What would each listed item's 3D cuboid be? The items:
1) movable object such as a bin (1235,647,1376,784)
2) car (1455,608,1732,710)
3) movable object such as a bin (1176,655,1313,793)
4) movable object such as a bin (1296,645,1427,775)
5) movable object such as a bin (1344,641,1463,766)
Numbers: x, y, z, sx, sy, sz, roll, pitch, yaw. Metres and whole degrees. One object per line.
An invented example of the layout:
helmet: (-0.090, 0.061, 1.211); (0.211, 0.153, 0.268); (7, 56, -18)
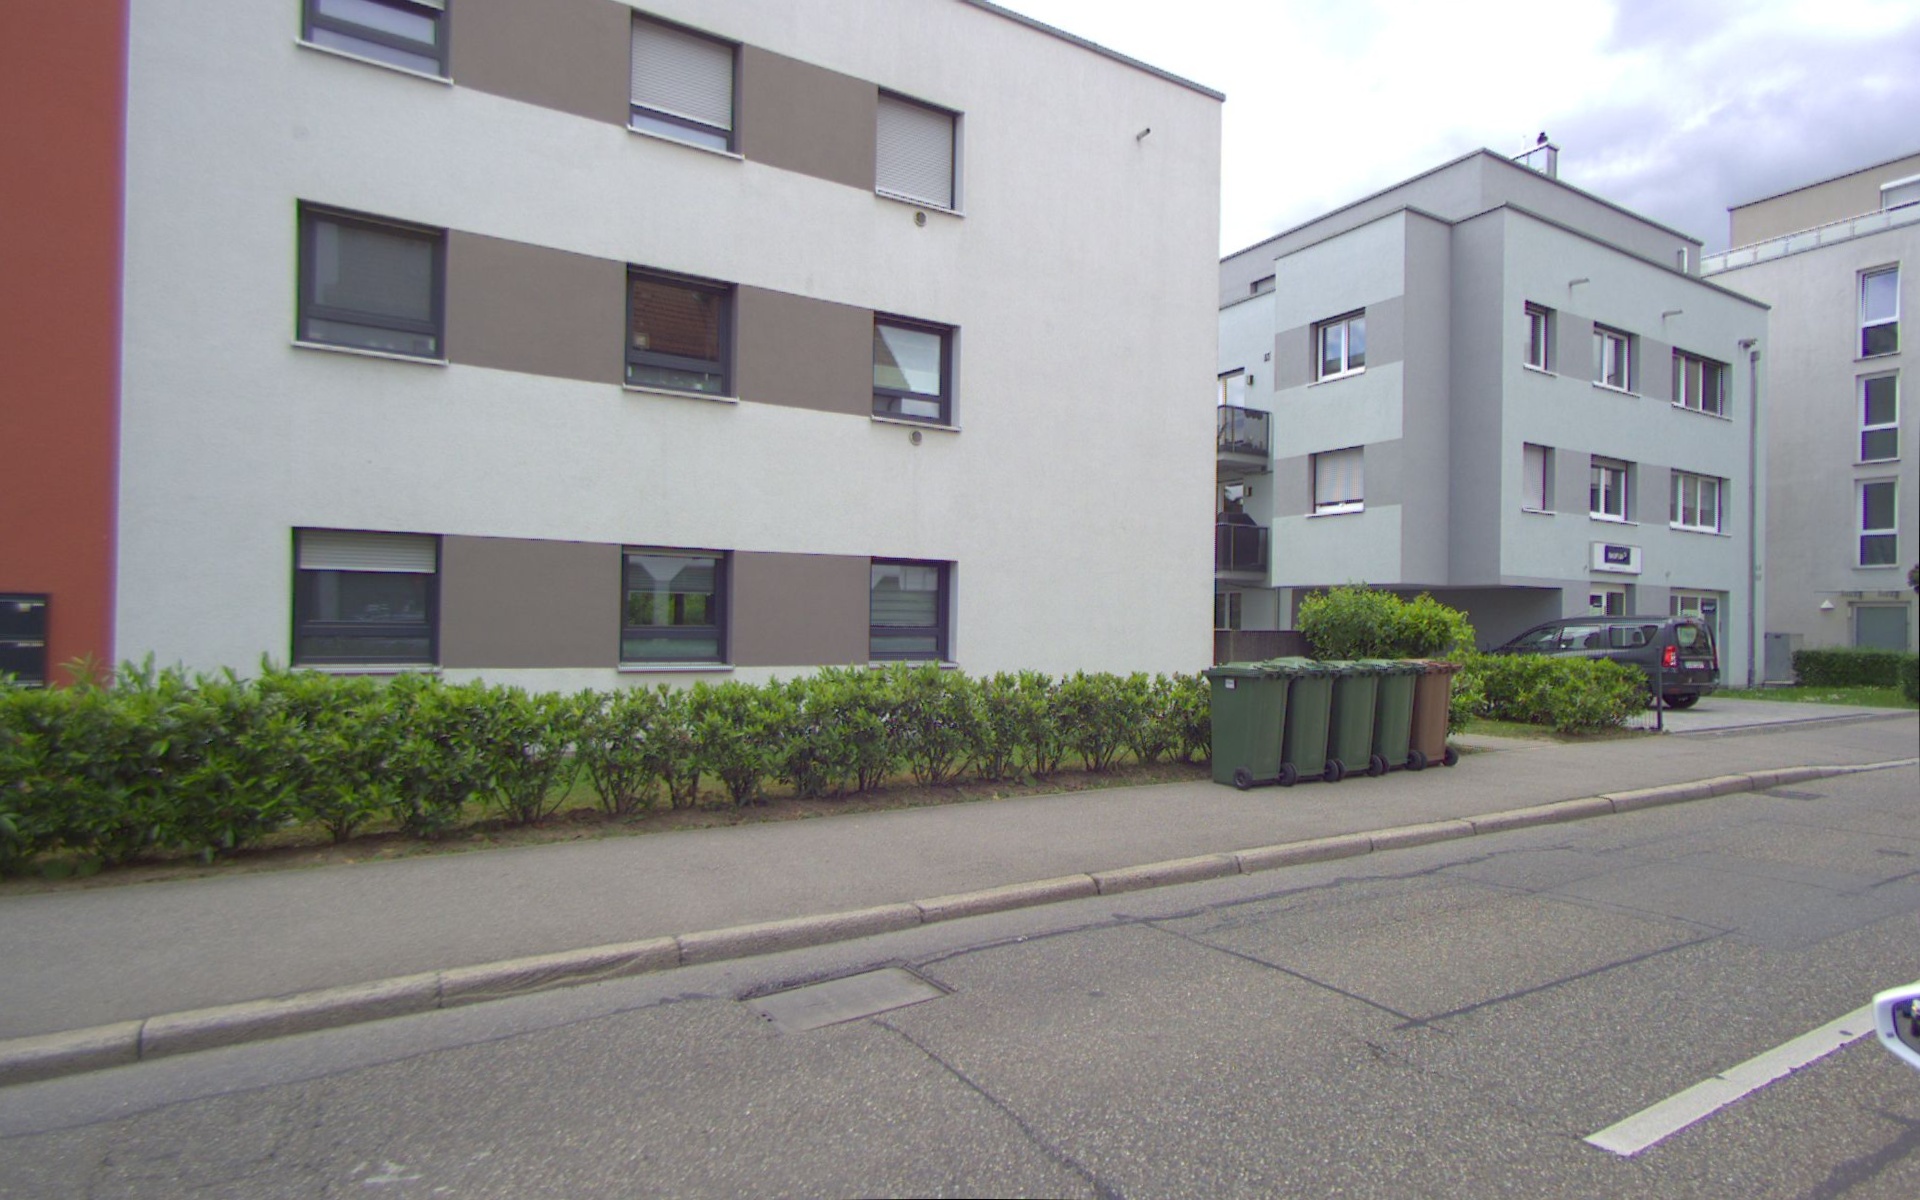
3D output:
movable object such as a bin: (3.248, 1.047, 9.463); (0.832, 1.166, 0.950); (1, -1, -34)
car: (11.733, 1.025, 18.922); (1.702, 1.689, 4.149); (2, -1, -26)
movable object such as a bin: (2.538, 1.072, 8.990); (0.784, 1.103, 0.889); (1, -1, -34)
movable object such as a bin: (3.945, 1.043, 9.890); (0.741, 1.166, 0.942); (1, -1, -34)
movable object such as a bin: (4.525, 1.023, 10.266); (0.606, 1.166, 0.935); (1, -1, -34)
